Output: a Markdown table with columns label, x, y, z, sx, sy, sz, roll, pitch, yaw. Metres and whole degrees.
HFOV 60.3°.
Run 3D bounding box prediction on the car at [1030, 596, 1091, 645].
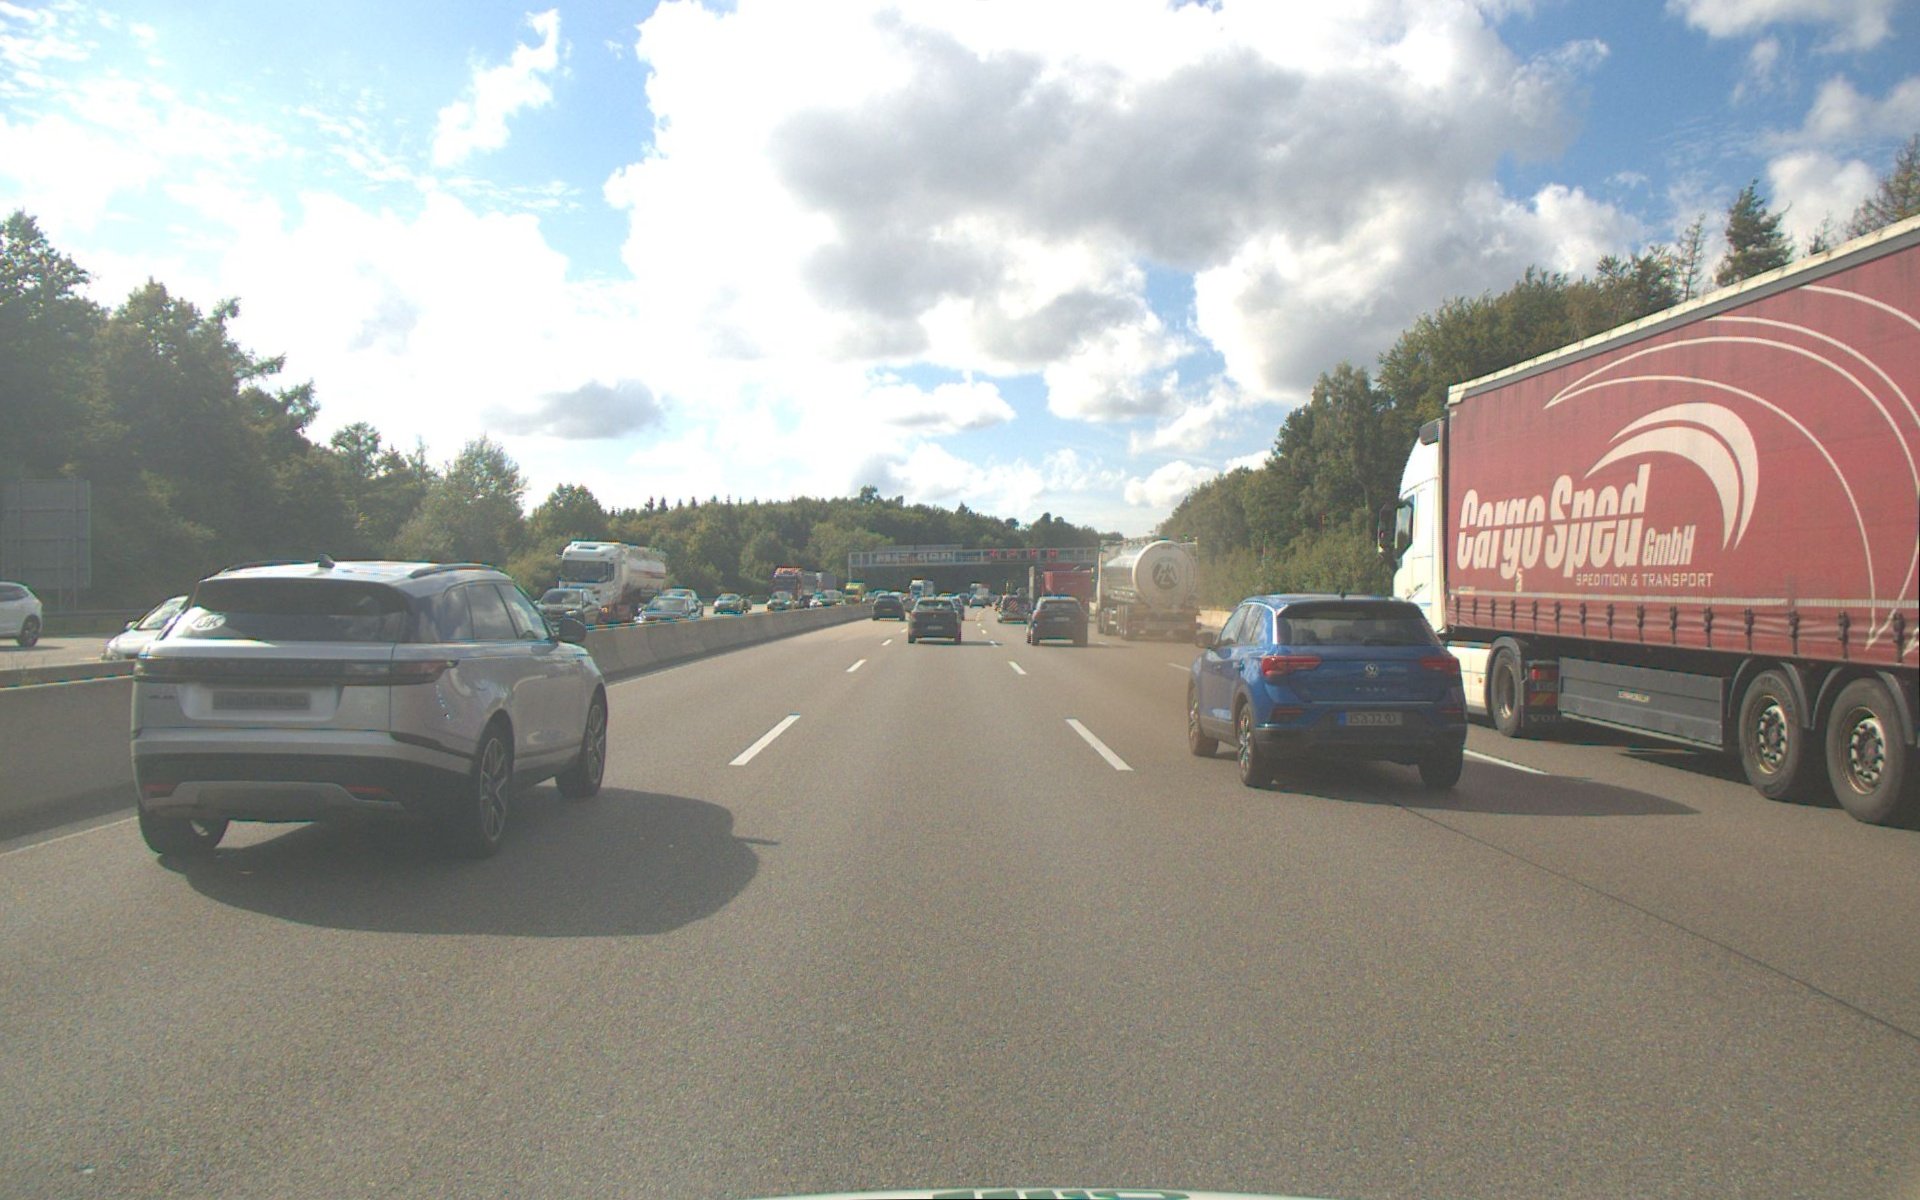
| label | x | y | z | sx | sy | sz | roll | pitch | yaw |
| --- | --- | --- | --- | --- | --- | --- | --- | --- | --- |
| car | 3.165 | 0.625 | 52.616 | 1.784 | 1.483 | 4.001 | 0 | 0 | 1 |

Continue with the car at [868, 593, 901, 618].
| label | x | y | z | sx | sy | sz | roll | pitch | yaw |
| --- | --- | --- | --- | --- | --- | --- | --- | --- | --- |
| car | -4.515 | 0.314 | 99.108 | 1.903 | 1.483 | 3.999 | -1 | 0 | -2 |

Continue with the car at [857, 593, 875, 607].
| label | x | y | z | sx | sy | sz | roll | pitch | yaw |
| --- | --- | --- | --- | --- | --- | --- | --- | --- | --- |
| car | -11.876 | -0.004 | 208.884 | 1.805 | 1.624 | 4.915 | -1 | 0 | 3 |

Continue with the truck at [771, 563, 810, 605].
| label | x | y | z | sx | sy | sz | roll | pitch | yaw |
| --- | --- | --- | --- | --- | --- | --- | --- | --- | --- |
| truck | -16.419 | -1.530 | 160.490 | 2.906 | 3.925 | 6.766 | 0 | 0 | 1 |

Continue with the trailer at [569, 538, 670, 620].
| label | x | y | z | sx | sy | sz | roll | pitch | yaw |
| --- | --- | --- | --- | --- | --- | --- | --- | --- | --- |
| trailer | -17.719 | -1.057 | 87.007 | 2.730 | 4.014 | 12.253 | 0 | 0 | 0 |

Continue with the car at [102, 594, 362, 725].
| label | x | y | z | sx | sy | sz | roll | pitch | yaw |
| --- | --- | --- | --- | --- | --- | --- | --- | --- | --- |
| car | -10.273 | 0.771 | 23.725 | 1.874 | 1.669 | 4.241 | -1 | 0 | -1 |

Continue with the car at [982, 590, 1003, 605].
| label | x | y | z | sx | sy | sz | roll | pitch | yaw |
| --- | --- | --- | --- | --- | --- | --- | --- | --- | --- |
| car | 3.337 | -0.228 | 170.205 | 1.903 | 1.483 | 3.999 | -1 | 0 | -2 |

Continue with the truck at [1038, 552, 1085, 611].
| label | x | y | z | sx | sy | sz | roll | pitch | yaw |
| --- | --- | --- | --- | --- | --- | --- | --- | --- | --- |
| truck | 6.660 | -1.224 | 109.338 | 2.654 | 3.783 | 5.817 | 1 | 1 | 0 |

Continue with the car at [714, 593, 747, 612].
| label | x | y | z | sx | sy | sz | roll | pitch | yaw |
| --- | --- | --- | --- | --- | --- | --- | --- | --- | --- |
| car | -17.172 | 0.178 | 123.793 | 1.789 | 1.439 | 4.675 | 0 | 0 | 1 |

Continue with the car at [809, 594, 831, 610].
| label | x | y | z | sx | sy | sz | roll | pitch | yaw |
| --- | --- | --- | --- | --- | --- | --- | --- | --- | --- |
| car | -13.057 | 0.210 | 154.648 | 1.570 | 1.427 | 4.001 | 2 | 0 | 1 |

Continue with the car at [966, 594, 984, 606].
| label | x | y | z | sx | sy | sz | roll | pitch | yaw |
| --- | --- | --- | --- | --- | --- | --- | --- | --- | --- |
| car | 1.873 | -0.025 | 204.304 | 2.035 | 1.483 | 3.999 | -1 | 0 | -2 |

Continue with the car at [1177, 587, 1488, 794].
| label | x | y | z | sx | sy | sz | roll | pitch | yaw |
| --- | --- | --- | --- | --- | --- | --- | --- | --- | --- |
| car | 3.112 | 0.673 | 14.732 | 1.737 | 1.557 | 4.457 | 0 | 0 | 0 |

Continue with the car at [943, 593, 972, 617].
| label | x | y | z | sx | sy | sz | roll | pitch | yaw |
| --- | --- | --- | --- | --- | --- | --- | --- | --- | --- |
| car | -0.148 | 0.275 | 104.960 | 1.785 | 1.483 | 4.000 | 0 | 0 | 1 |

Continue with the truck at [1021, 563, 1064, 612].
| label | x | y | z | sx | sy | sz | roll | pitch | yaw |
| --- | --- | --- | --- | --- | --- | --- | --- | --- | --- |
| truck | 7.039 | -1.058 | 142.328 | 3.055 | 4.003 | 10.409 | 0 | 0 | -1 |

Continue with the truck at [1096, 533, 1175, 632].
| label | x | y | z | sx | sy | sz | roll | pitch | yaw |
| --- | --- | --- | --- | --- | --- | --- | --- | --- | --- |
| truck | 7.172 | -0.709 | 68.322 | 2.595 | 3.890 | 6.081 | 0 | 0 | 0 |

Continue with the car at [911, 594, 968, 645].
| label | x | y | z | sx | sy | sz | roll | pitch | yaw |
| --- | --- | --- | --- | --- | --- | --- | --- | --- | --- |
| car | -0.690 | 0.597 | 53.417 | 1.785 | 1.573 | 3.999 | 0 | 0 | -2 |

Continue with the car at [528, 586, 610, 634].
| label | x | y | z | sx | sy | sz | roll | pitch | yaw |
| --- | --- | --- | --- | --- | --- | --- | --- | --- | --- |
| car | -13.851 | 0.331 | 58.878 | 1.822 | 1.648 | 4.747 | 0 | 0 | -1 |

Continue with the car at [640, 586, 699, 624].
| label | x | y | z | sx | sy | sz | roll | pitch | yaw |
| --- | --- | --- | --- | --- | --- | --- | --- | --- | --- |
| car | -13.388 | 0.196 | 76.475 | 1.817 | 1.699 | 5.210 | -1 | 0 | -1 |

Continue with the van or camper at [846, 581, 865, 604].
| label | x | y | z | sx | sy | sz | roll | pitch | yaw |
| --- | --- | --- | --- | --- | --- | --- | --- | --- | --- |
| van or camper | -13.885 | -0.977 | 219.662 | 2.326 | 2.942 | 6.503 | -1 | 0 | -2 |

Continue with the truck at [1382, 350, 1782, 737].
| label | x | y | z | sx | sy | sz | roll | pitch | yaw |
| --- | --- | --- | --- | --- | --- | --- | --- | --- | --- |
| truck | 7.401 | -0.617 | 20.593 | 2.717 | 4.116 | 5.772 | 0 | 0 | -1 |

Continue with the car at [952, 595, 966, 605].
| label | x | y | z | sx | sy | sz | roll | pitch | yaw |
| --- | --- | --- | --- | --- | --- | --- | --- | --- | --- |
| car | -0.097 | -0.010 | 241.255 | 1.890 | 1.483 | 4.391 | -1 | 0 | -2 |

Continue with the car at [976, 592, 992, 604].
| label | x | y | z | sx | sy | sz | roll | pitch | yaw |
| --- | --- | --- | --- | --- | --- | --- | --- | --- | --- |
| car | 3.260 | -0.284 | 227.236 | 2.035 | 1.483 | 3.999 | -1 | 0 | -2 |

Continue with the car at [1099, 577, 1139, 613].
| label | x | y | z | sx | sy | sz | roll | pitch | yaw |
| --- | --- | --- | --- | --- | --- | --- | --- | --- | --- |
| car | 9.141 | -0.285 | 95.476 | 1.855 | 1.991 | 4.100 | 1 | 0 | 0 |

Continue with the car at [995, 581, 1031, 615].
| label | x | y | z | sx | sy | sz | roll | pitch | yaw |
| --- | --- | --- | --- | --- | --- | --- | --- | --- | --- |
| car | 3.007 | -0.107 | 95.222 | 1.855 | 1.889 | 4.099 | 1 | 0 | -1 |

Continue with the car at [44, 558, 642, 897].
| label | x | y | z | sx | sy | sz | roll | pitch | yaw |
| --- | --- | --- | --- | --- | --- | --- | --- | --- | --- |
| car | -3.543 | 0.617 | 10.794 | 1.965 | 1.644 | 5.300 | 1 | 0 | -1 |

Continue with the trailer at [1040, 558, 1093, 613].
| label | x | y | z | sx | sy | sz | roll | pitch | yaw |
| --- | --- | --- | --- | --- | --- | --- | --- | --- | --- |
| trailer | 6.666 | -0.940 | 104.483 | 2.654 | 3.287 | 9.733 | 1 | 1 | 0 |

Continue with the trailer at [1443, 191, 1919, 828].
| label | x | y | z | sx | sy | sz | roll | pitch | yaw |
| --- | --- | --- | --- | --- | --- | --- | --- | --- | --- |
| trailer | 7.505 | -0.596 | 13.810 | 2.717 | 4.116 | 13.711 | 0 | 0 | -1 |

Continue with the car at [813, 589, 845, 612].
| label | x | y | z | sx | sy | sz | roll | pitch | yaw |
| --- | --- | --- | --- | --- | --- | --- | --- | --- | --- |
| car | -9.983 | 0.010 | 126.669 | 2.111 | 1.729 | 5.349 | 0 | 0 | -1 |

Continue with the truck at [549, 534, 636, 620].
| label | x | y | z | sx | sy | sz | roll | pitch | yaw |
| --- | --- | --- | --- | --- | --- | --- | --- | --- | --- |
| truck | -17.759 | -1.086 | 80.224 | 2.730 | 4.014 | 6.445 | 0 | 0 | 0 |

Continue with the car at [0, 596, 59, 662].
| label | x | y | z | sx | sy | sz | roll | pitch | yaw |
| --- | --- | --- | --- | --- | --- | --- | --- | --- | --- |
| car | -25.099 | 0.745 | 41.689 | 2.127 | 1.665 | 4.875 | -1 | 0 | -1 |

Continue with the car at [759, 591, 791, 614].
| label | x | y | z | sx | sy | sz | roll | pitch | yaw |
| --- | --- | --- | --- | --- | --- | --- | --- | --- | --- |
| car | -14.014 | 0.209 | 125.691 | 1.953 | 1.693 | 4.686 | 0 | 0 | -1 |

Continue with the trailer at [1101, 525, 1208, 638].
| label | x | y | z | sx | sy | sz | roll | pitch | yaw |
| --- | --- | --- | --- | --- | --- | --- | --- | --- | --- |
| trailer | 7.168 | -0.659 | 62.583 | 2.594 | 3.833 | 11.859 | 0 | 0 | 0 |
